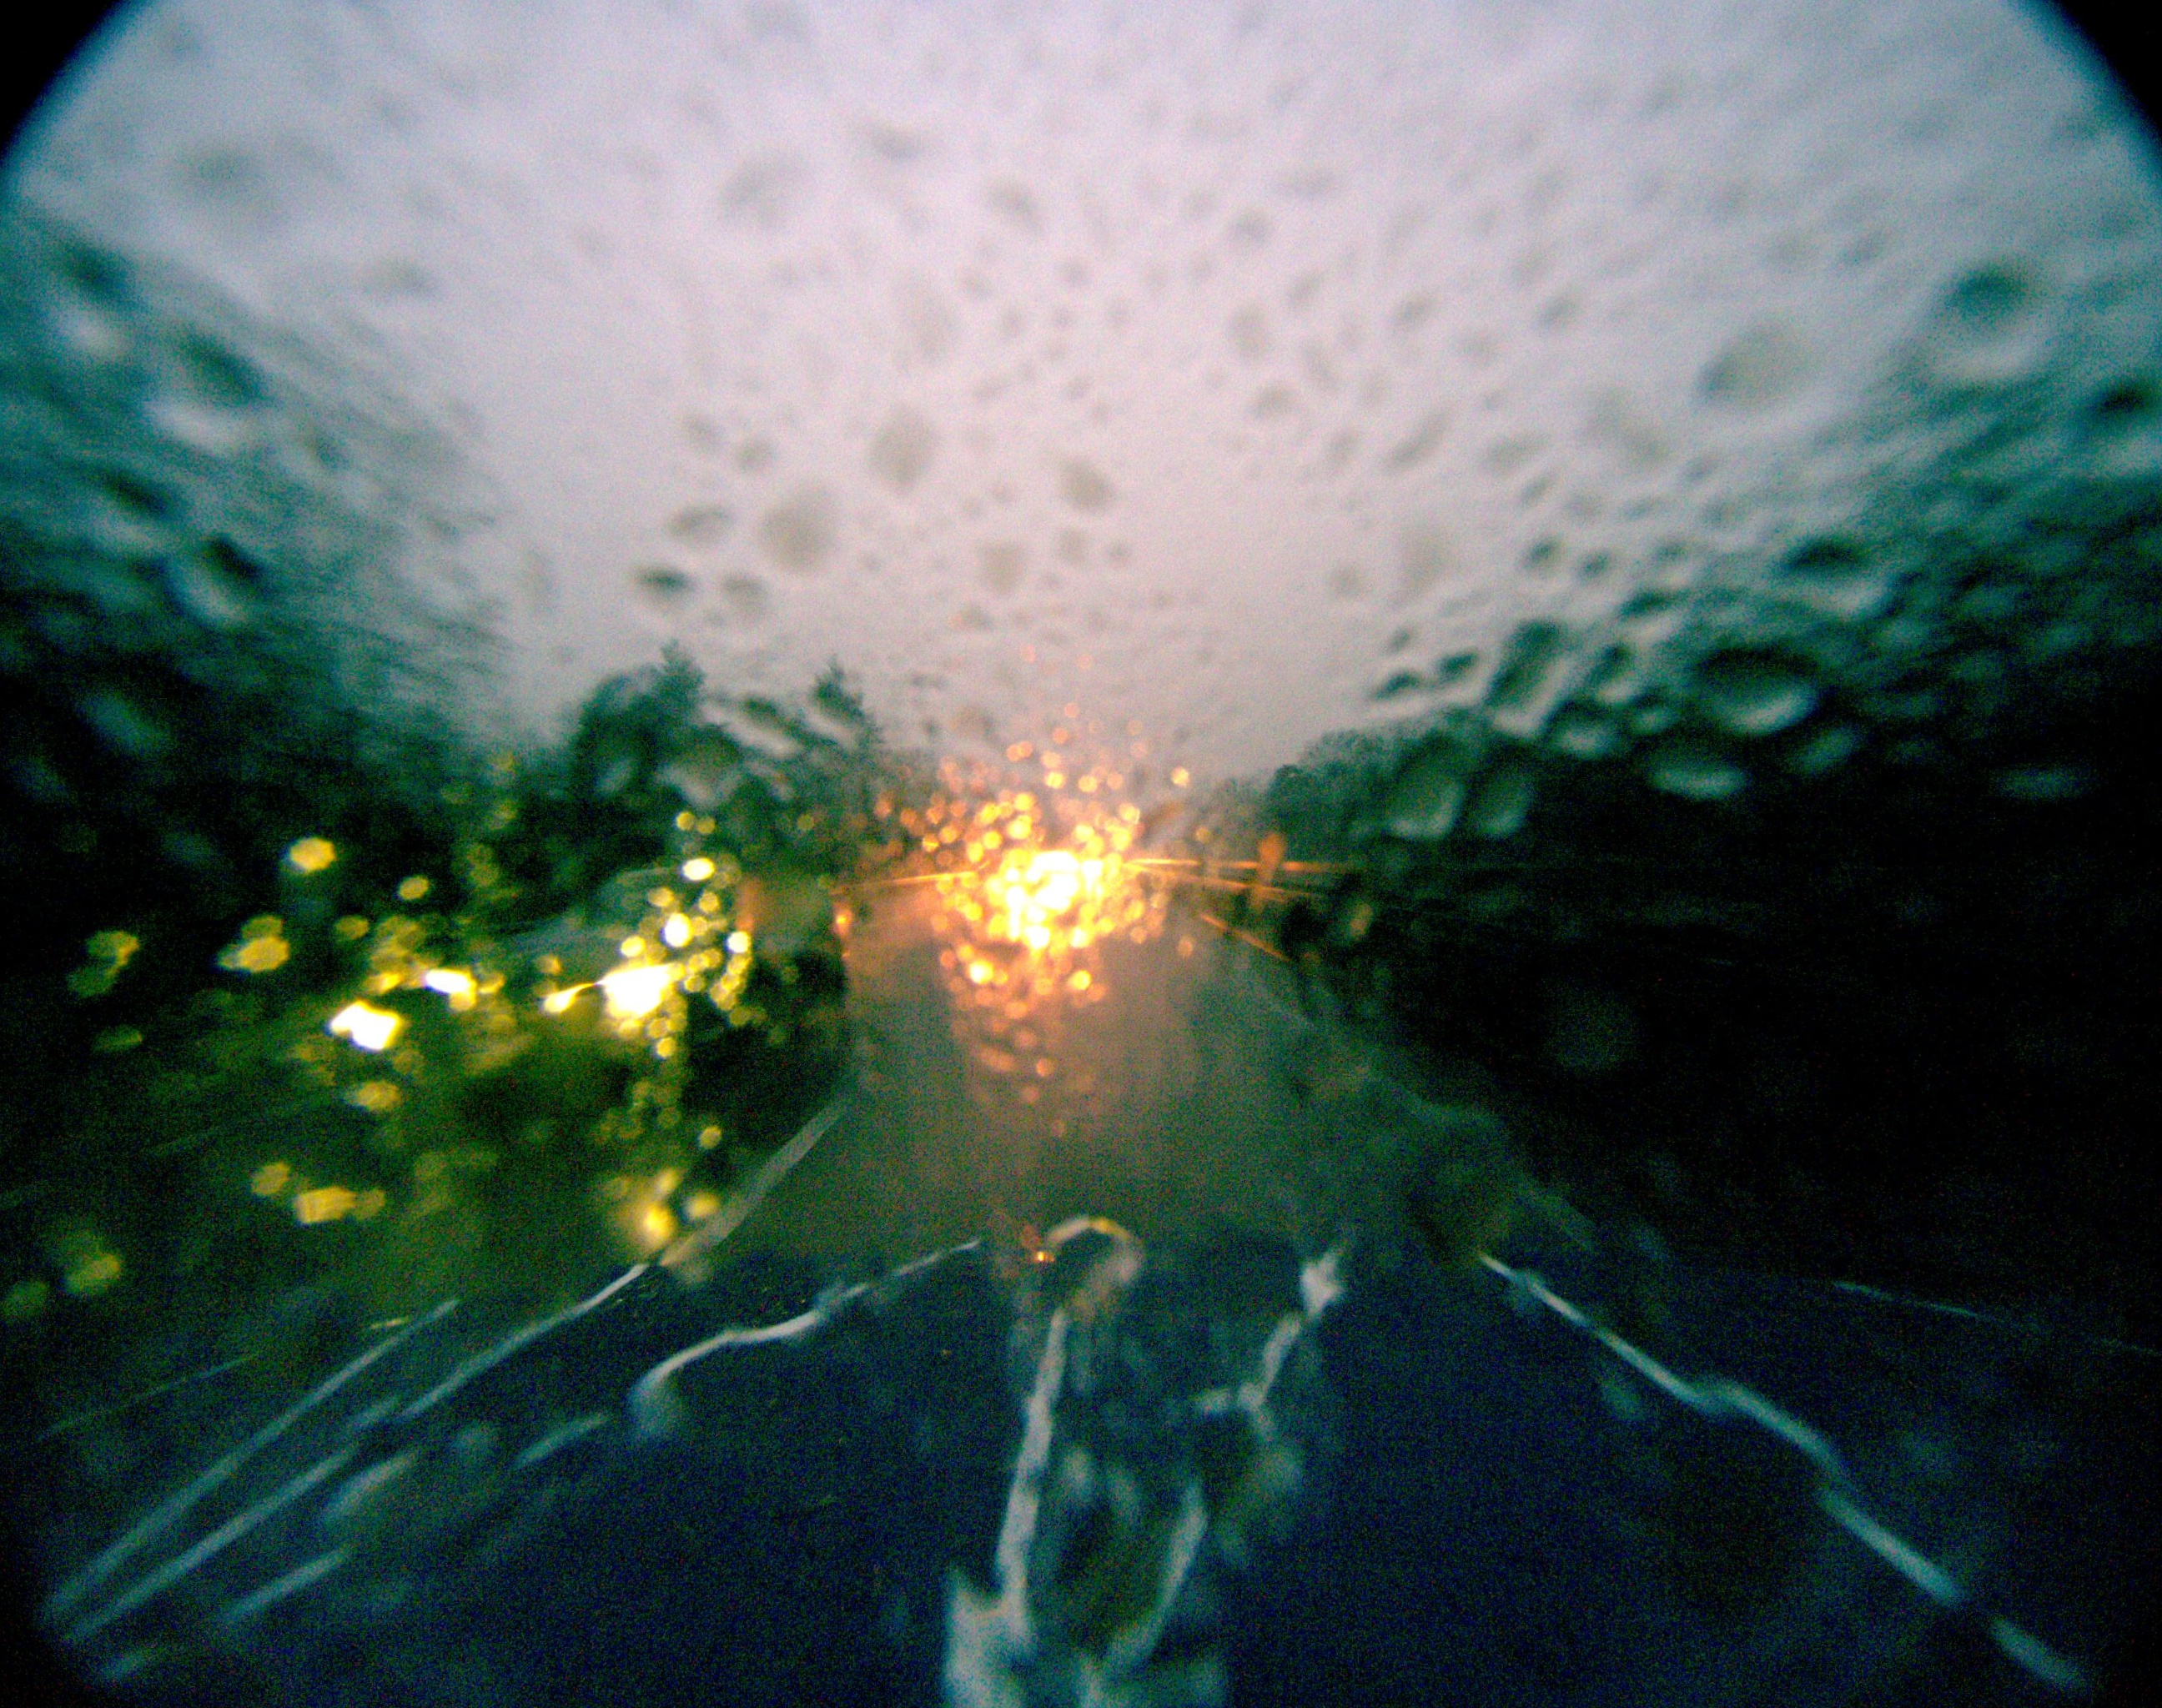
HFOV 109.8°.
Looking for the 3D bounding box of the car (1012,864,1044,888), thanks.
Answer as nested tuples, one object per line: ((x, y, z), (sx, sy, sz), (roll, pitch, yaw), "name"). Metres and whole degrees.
((-3.286, 1.354, 47.675), (1.603, 1.358, 3.305), (-2, 0, 1), "car")

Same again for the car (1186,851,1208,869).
((12.811, 0.639, 83.964), (1.761, 1.824, 3.912), (-2, 1, 0), "car")

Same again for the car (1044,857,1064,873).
((-2.682, 1.093, 76.364), (1.741, 1.441, 4.000), (-2, 1, 1), "car")

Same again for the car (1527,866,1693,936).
((10.346, 0.867, 15.096), (1.276, 1.162, 2.881), (-2, 1, 0), "car")

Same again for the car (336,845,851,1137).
((-3.659, 0.851, 6.753), (1.929, 1.781, 3.940), (-2, 1, 1), "car")
